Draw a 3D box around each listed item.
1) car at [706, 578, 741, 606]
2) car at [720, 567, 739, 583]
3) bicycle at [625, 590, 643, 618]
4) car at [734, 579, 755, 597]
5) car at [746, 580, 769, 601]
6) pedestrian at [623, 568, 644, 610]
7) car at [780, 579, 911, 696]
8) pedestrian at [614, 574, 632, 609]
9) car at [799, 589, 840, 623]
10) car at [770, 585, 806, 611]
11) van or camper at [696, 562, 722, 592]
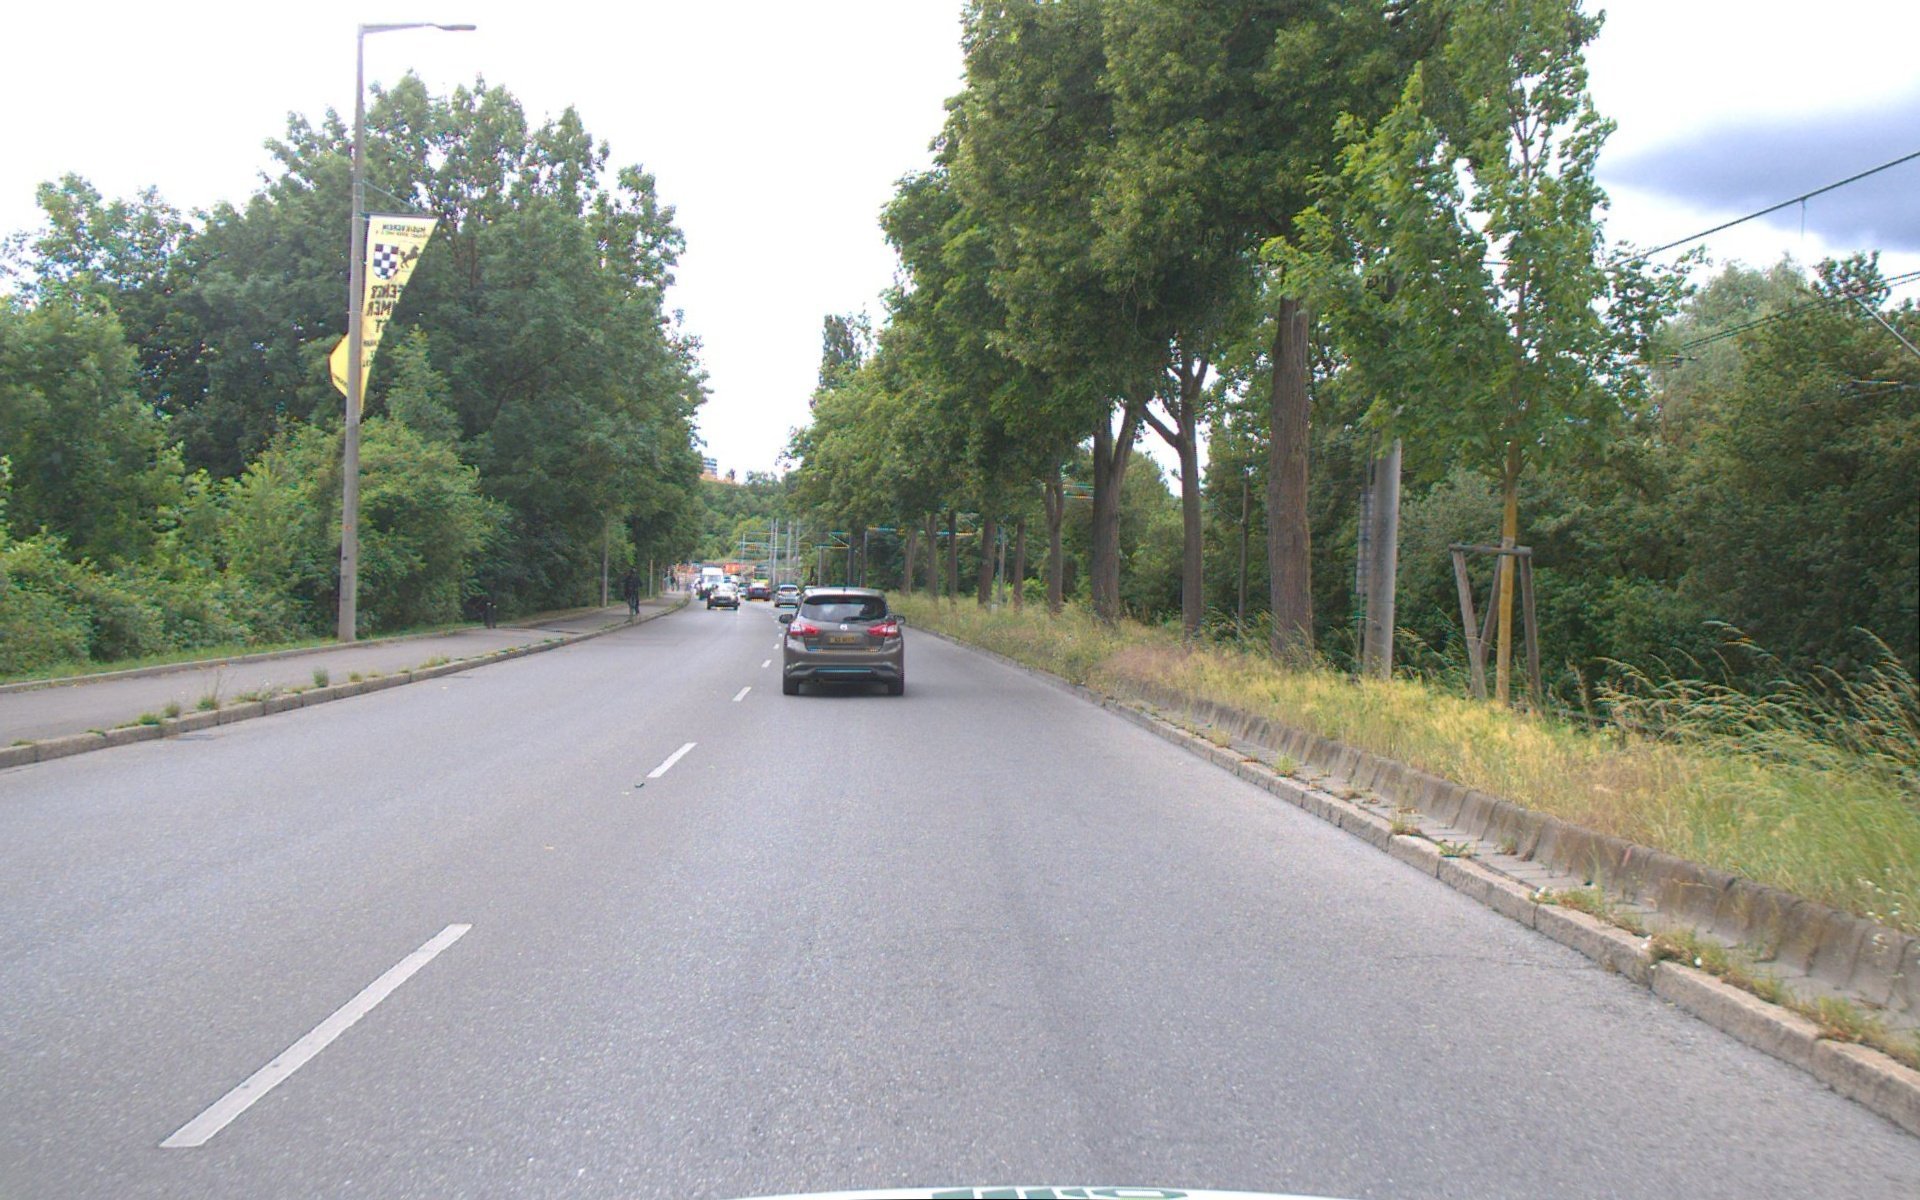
[{"bbox_3d":[-13.509,-0.467,94.445,1.715,1.489,3.916,3,0,-6],"label":"car"},{"bbox_3d":[-24.442,-2.632,175.667,1.742,1.497,3.996,4,1,-6],"label":"car"},{"bbox_3d":[-12.788,0.149,64.886,0.478,1.048,1.123,4,1,-3],"label":"bicycle"},{"bbox_3d":[-19.838,-1.154,152.296,1.742,1.497,3.996,3,1,-6],"label":"car"},{"bbox_3d":[-16.882,-0.792,138.257,1.742,1.497,3.996,4,1,-6],"label":"car"},{"bbox_3d":[-12.790,-0.427,64.838,0.605,1.598,0.849,4,1,-4],"label":"pedestrian"},{"bbox_3d":[-1.719,0.498,24.919,1.780,1.534,3.997,1,1,-4],"label":"car"},{"bbox_3d":[-16.484,-0.433,80.817,0.682,1.649,0.684,4,1,-4],"label":"pedestrian"},{"bbox_3d":[-7.204,0.309,84.555,1.743,1.497,3.993,4,1,-8],"label":"car"},{"bbox_3d":[-11.546,-0.127,110.666,1.746,1.497,3.985,4,1,-15],"label":"car"},{"bbox_3d":[-20.324,-1.883,133.864,1.890,2.188,3.924,4,1,-9],"label":"van or camper"}]
